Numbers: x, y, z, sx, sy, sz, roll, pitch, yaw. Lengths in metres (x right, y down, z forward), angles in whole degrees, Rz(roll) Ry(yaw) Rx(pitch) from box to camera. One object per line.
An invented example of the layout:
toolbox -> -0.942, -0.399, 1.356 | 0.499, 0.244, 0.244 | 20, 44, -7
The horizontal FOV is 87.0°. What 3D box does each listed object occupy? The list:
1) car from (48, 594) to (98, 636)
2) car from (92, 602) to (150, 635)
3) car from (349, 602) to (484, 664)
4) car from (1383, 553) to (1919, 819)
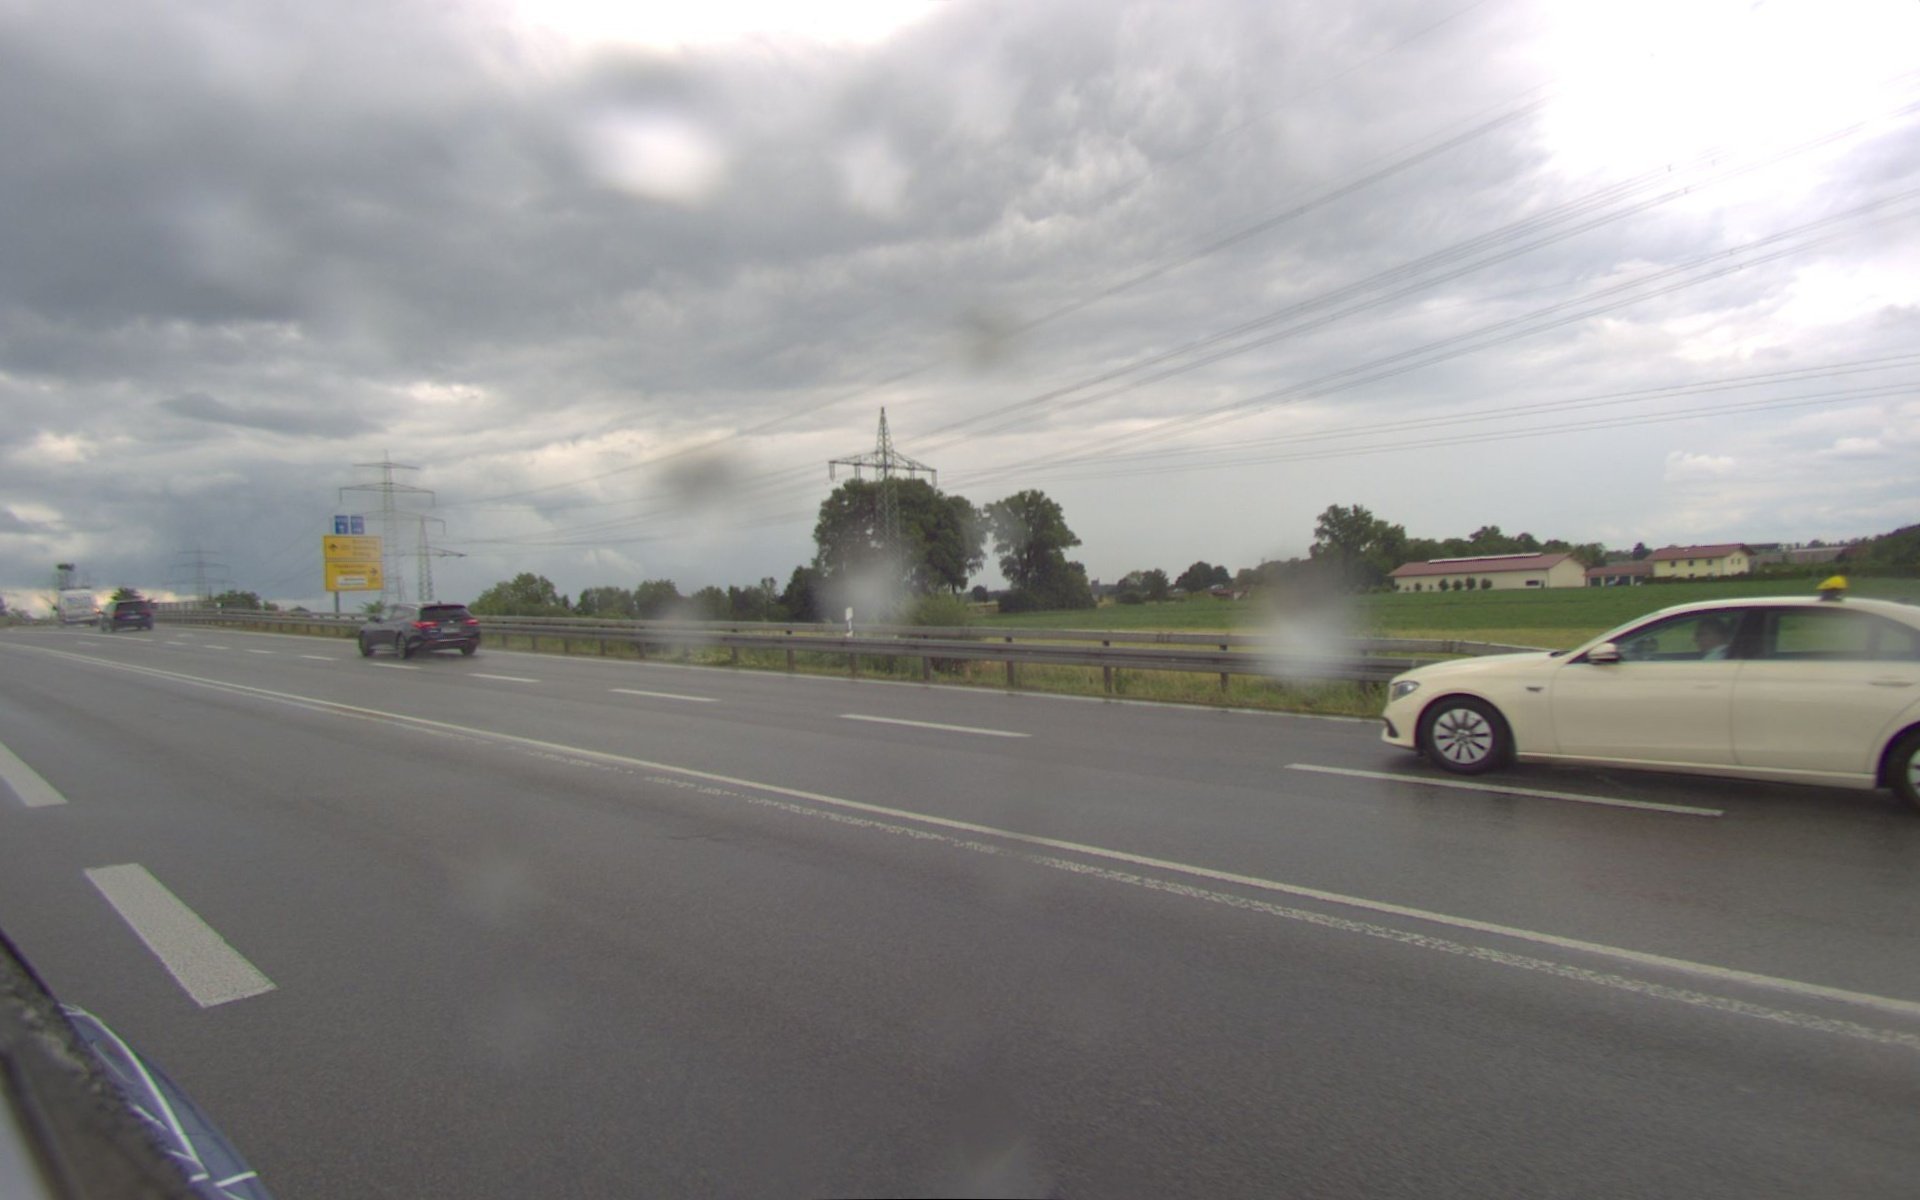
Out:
car -> -61.042, 1.030, 69.592 | 5.460, 2.674, 1.949 | -1, 2, 43
car -> -45.349, 0.977, 54.641 | 4.635, 1.621, 1.690 | -1, 2, 42
car -> -14.804, 0.854, 27.432 | 4.734, 1.436, 1.751 | -1, 2, 43
car -> 5.951, 0.543, 7.760 | 4.644, 1.672, 1.923 | 0, 0, 42
